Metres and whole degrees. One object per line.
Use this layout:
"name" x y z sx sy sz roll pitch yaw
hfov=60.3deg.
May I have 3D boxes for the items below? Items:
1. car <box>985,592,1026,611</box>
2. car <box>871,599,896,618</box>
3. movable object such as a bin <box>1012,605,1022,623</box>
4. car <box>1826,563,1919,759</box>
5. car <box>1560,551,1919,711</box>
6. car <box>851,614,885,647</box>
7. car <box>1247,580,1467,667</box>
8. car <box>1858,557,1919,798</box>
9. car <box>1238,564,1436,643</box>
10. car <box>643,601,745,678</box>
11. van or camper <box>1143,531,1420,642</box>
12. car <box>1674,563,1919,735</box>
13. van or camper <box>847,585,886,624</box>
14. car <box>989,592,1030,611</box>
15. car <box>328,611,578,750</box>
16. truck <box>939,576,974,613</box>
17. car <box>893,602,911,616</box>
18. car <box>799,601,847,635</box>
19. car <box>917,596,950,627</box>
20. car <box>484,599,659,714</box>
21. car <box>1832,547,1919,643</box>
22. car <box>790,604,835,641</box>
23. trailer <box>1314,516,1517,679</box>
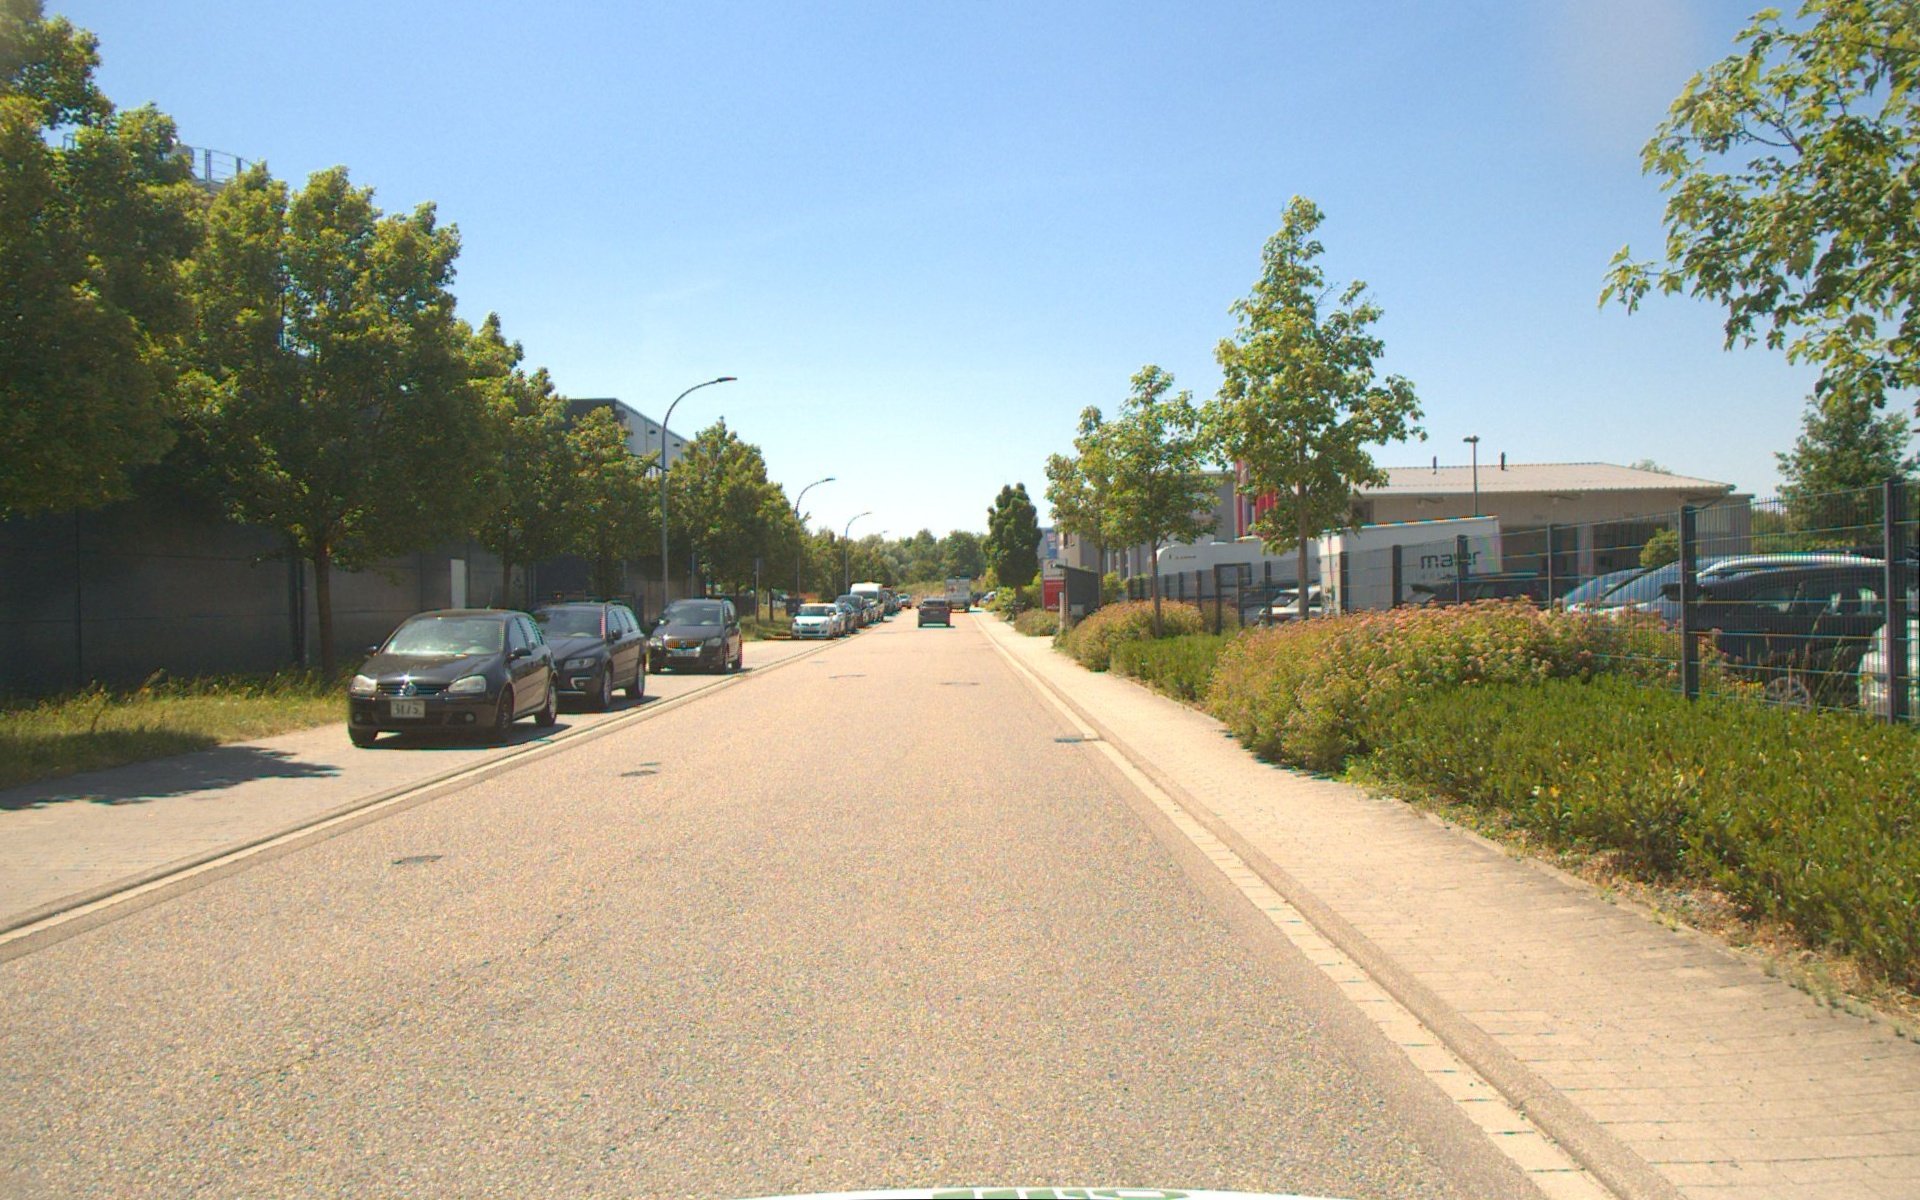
"car" 4.421 0.161 160.234 3.798 1.780 1.751 1 0 -3
"car" -6.417 0.716 138.744 1.762 1.513 4.253 0 1 1
"movable object such as a bin" 3.427 0.856 99.453 0.520 1.071 0.845 -1 0 1
"car" 9.258 0.374 12.772 4.192 1.470 1.754 -2 0 -1
"car" 8.765 0.305 17.815 3.906 1.548 1.822 -2 0 -1
"car" -5.215 1.712 94.105 1.762 1.846 4.251 0 0 -1
"car" 7.727 0.446 32.392 3.765 1.465 1.805 -3 0 -4
"car" 7.991 0.391 9.982 4.257 1.474 1.602 -2 0 -1
"car" 8.548 0.074 37.726 4.054 1.563 1.808 -3 0 -1
"car" -6.005 0.854 37.755 1.735 1.640 4.246 0 0 -2
"van or camper" 8.244 -0.339 43.003 6.620 2.630 2.635 -2 0 -1
"car" 8.718 0.393 15.189 3.590 1.447 1.644 -2 0 -1
"van or camper" -6.226 0.295 111.242 2.035 2.526 6.132 1 0 2
"car" 4.733 0.160 157.788 3.798 1.780 1.751 1 0 -3
"car" -5.930 0.877 19.880 1.735 1.456 4.200 -1 0 -1
"truck" -0.265 -0.441 142.496 2.873 3.026 6.419 1 0 0
"car" -6.562 0.967 188.529 1.762 1.513 4.253 0 1 1
"car" -6.186 0.799 75.199 1.762 1.502 4.554 0 0 0
"car" -1.450 0.623 92.378 1.753 1.652 3.808 1 0 -1
"car" -6.031 0.817 26.219 1.735 1.640 4.850 0 0 -2
"car" 19.835 -0.152 32.880 3.959 1.838 1.918 -2 0 -1
"car" -6.213 0.938 69.936 1.686 1.502 3.855 0 0 -3
"trailer" 7.310 -0.045 26.696 2.767 2.445 1.418 -2 0 -5
